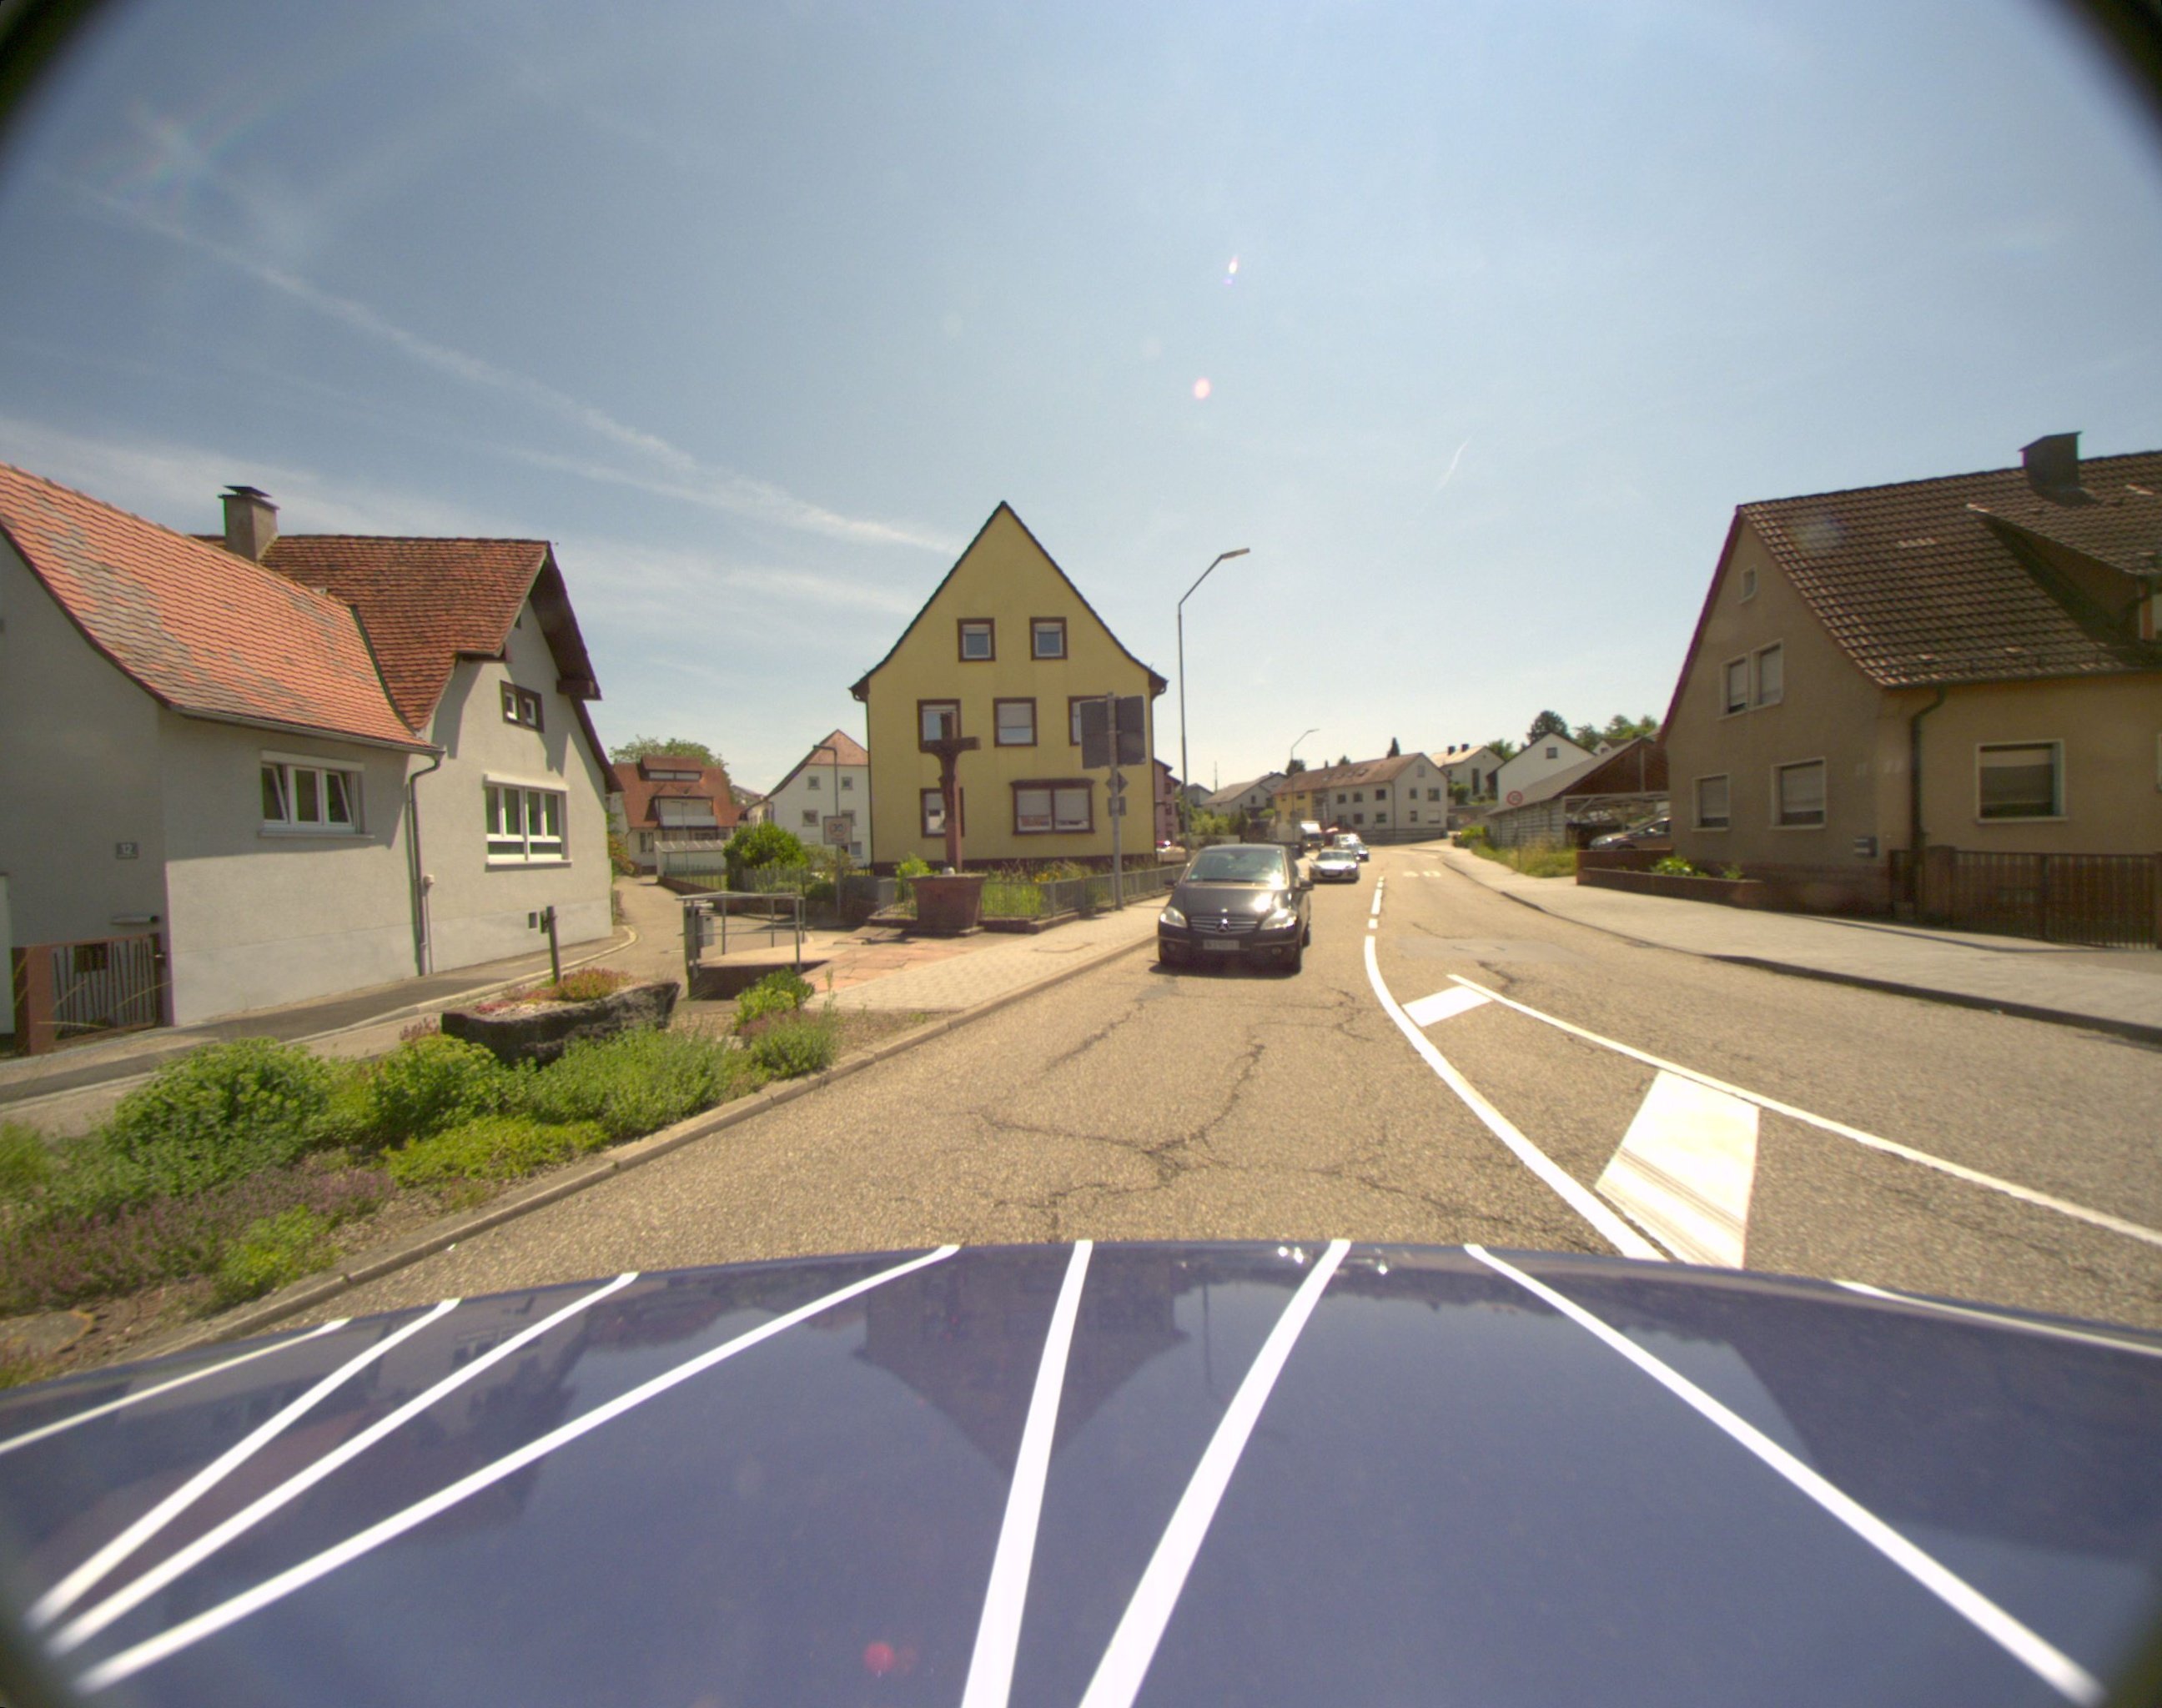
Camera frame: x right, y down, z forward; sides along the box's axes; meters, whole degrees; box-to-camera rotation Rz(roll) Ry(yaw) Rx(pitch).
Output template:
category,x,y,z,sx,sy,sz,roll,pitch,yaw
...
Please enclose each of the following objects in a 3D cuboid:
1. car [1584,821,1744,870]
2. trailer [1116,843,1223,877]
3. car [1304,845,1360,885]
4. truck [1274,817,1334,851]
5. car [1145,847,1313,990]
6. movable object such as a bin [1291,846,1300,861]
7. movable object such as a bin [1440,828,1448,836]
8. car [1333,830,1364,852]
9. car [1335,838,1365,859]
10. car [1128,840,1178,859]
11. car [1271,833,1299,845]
category,x,y,z,sx,sy,sz,roll,pitch,yaw
car,20.336,-0.308,26.737,4.127,1.629,1.868,0,2,24
trailer,4.751,0.295,41.101,5.363,1.537,2.137,-3,1,-7
car,9.840,0.384,29.625,1.811,1.307,4.005,-2,1,22
truck,25.738,-2.272,88.287,3.205,3.579,8.299,-3,1,-9
car,2.319,0.739,10.910,1.762,1.583,4.203,-2,1,19
movable object such as a bin,15.940,-0.039,56.496,0.566,1.051,0.651,-1,2,6
movable object such as a bin,43.842,-2.632,91.866,0.600,0.929,0.599,-2,2,-24
car,24.296,-1.205,69.168,1.866,1.897,5.040,-3,1,11
car,19.108,-0.409,54.057,1.894,1.368,4.005,-3,1,19
car,5.744,-0.378,60.809,3.835,1.478,1.761,0,2,-1
car,29.241,-2.143,108.837,1.737,1.543,4.180,-3,2,-21
